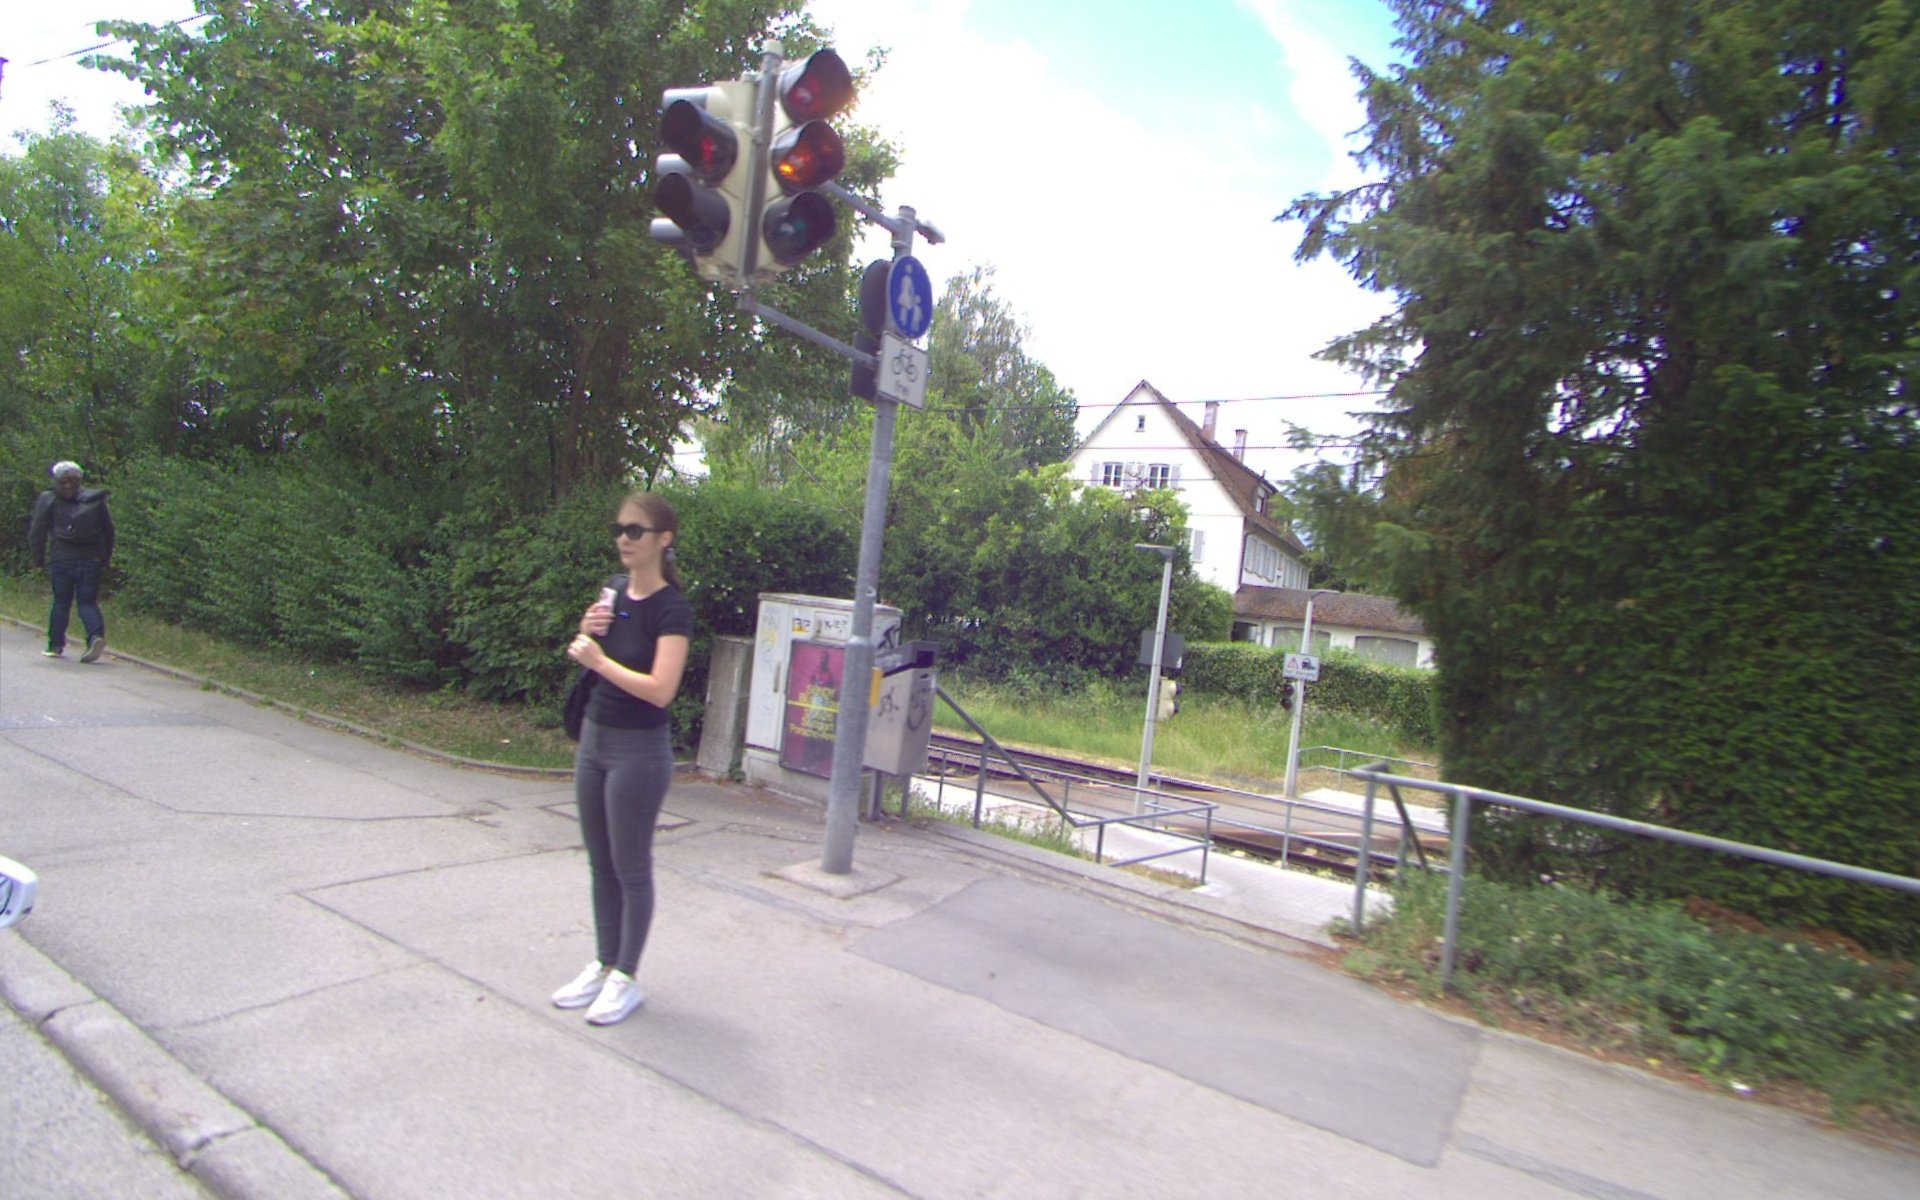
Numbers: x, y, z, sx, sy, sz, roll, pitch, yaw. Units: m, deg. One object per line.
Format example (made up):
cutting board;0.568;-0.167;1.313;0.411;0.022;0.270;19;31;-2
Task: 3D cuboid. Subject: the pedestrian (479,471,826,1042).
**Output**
pedestrian;-1.037;0.466;3.430;0.697;1.684;0.648;7;-1;36

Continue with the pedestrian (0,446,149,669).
pedestrian;-8.166;-0.385;9.247;0.789;1.904;0.745;7;-1;37
